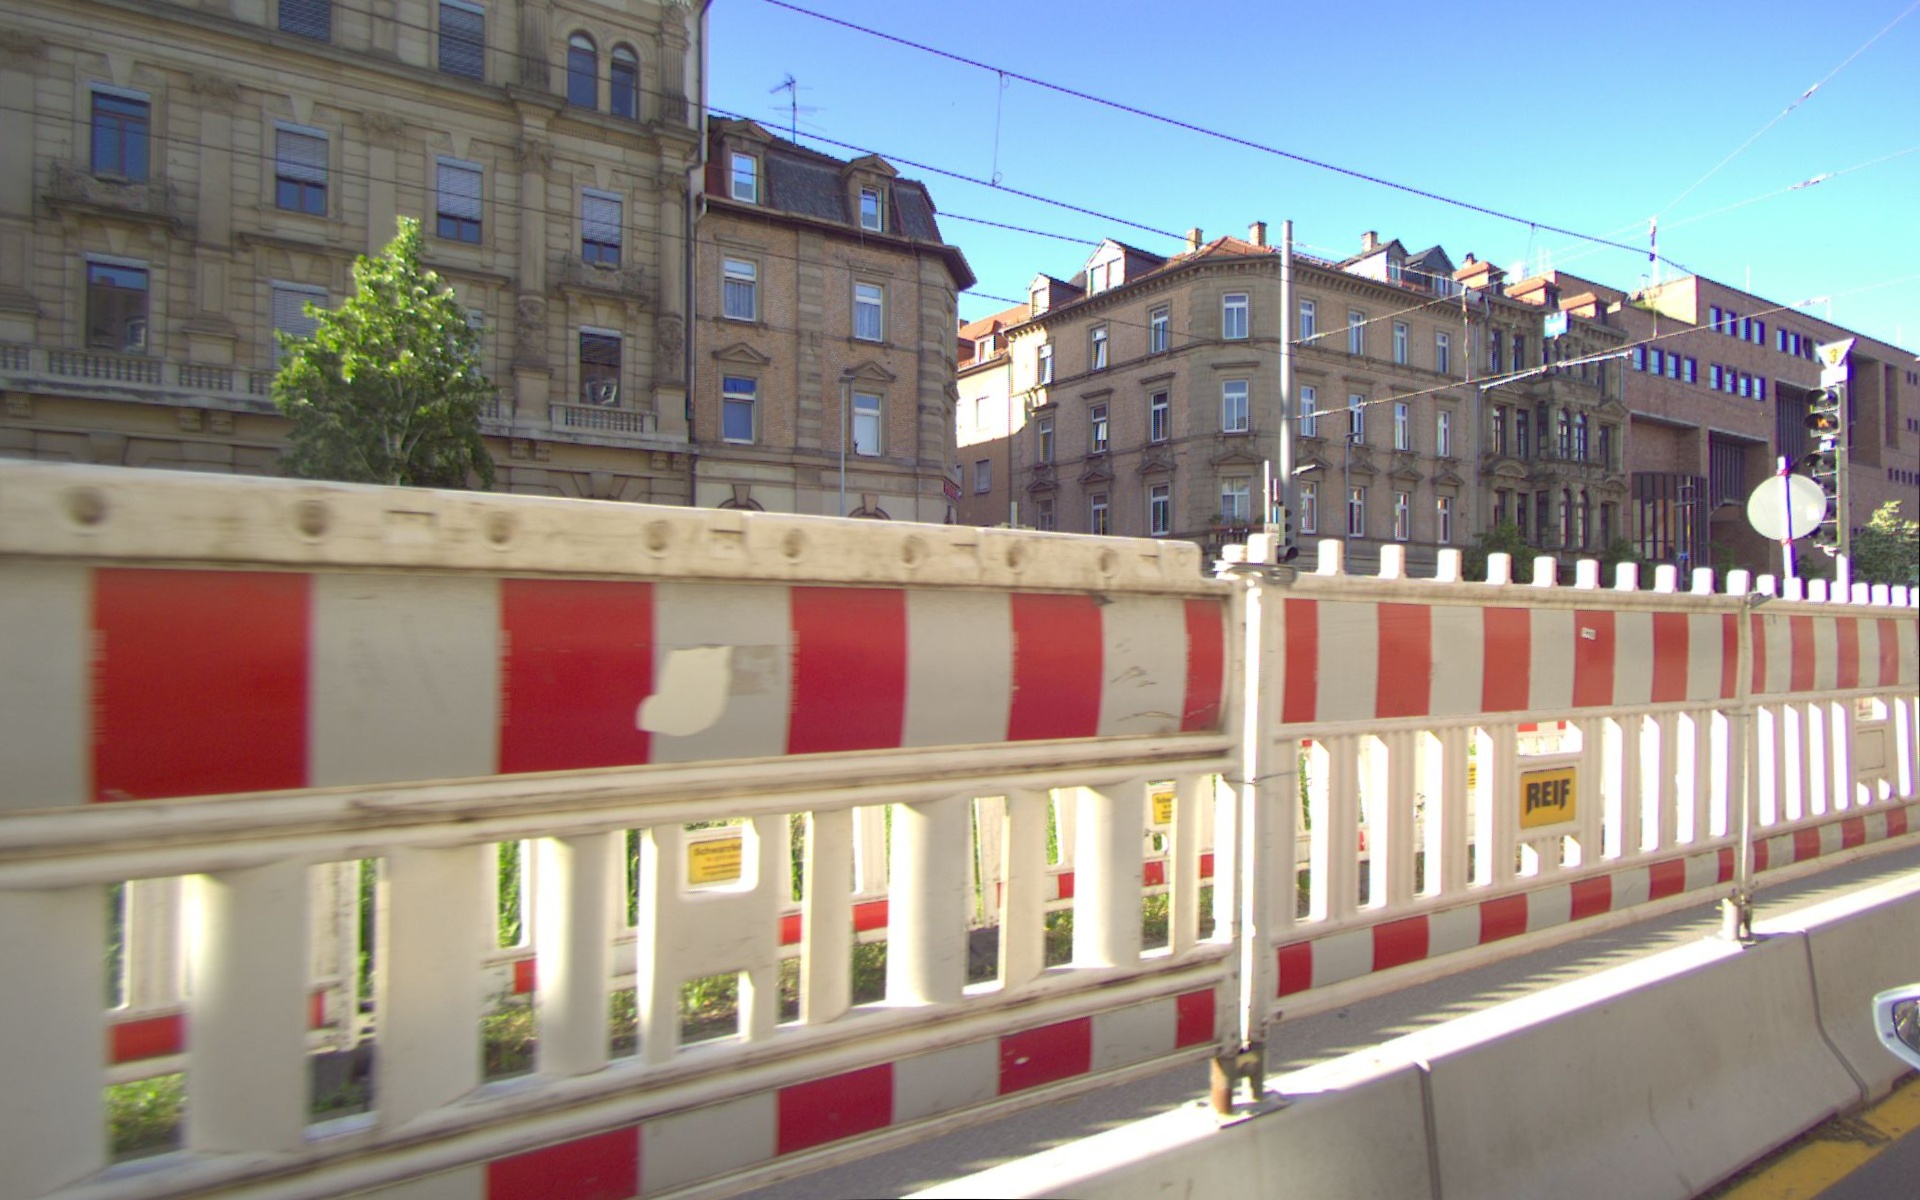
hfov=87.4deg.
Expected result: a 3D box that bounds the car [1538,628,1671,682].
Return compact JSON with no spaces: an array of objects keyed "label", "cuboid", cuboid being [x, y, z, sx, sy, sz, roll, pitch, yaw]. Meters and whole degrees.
[{"label":"car","cuboid":[20.887,1.753,32.504,4.423,1.661,1.788,2,-2,-30]}]

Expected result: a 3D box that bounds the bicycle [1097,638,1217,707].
[{"label":"bicycle","cuboid":[3.575,1.290,18.274,1.964,1.169,0.853,-1,-2,34]}]

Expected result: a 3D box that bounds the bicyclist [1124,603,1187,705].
[{"label":"bicyclist","cuboid":[3.555,0.964,18.260,0.870,1.797,0.853,0,-2,34]}]
